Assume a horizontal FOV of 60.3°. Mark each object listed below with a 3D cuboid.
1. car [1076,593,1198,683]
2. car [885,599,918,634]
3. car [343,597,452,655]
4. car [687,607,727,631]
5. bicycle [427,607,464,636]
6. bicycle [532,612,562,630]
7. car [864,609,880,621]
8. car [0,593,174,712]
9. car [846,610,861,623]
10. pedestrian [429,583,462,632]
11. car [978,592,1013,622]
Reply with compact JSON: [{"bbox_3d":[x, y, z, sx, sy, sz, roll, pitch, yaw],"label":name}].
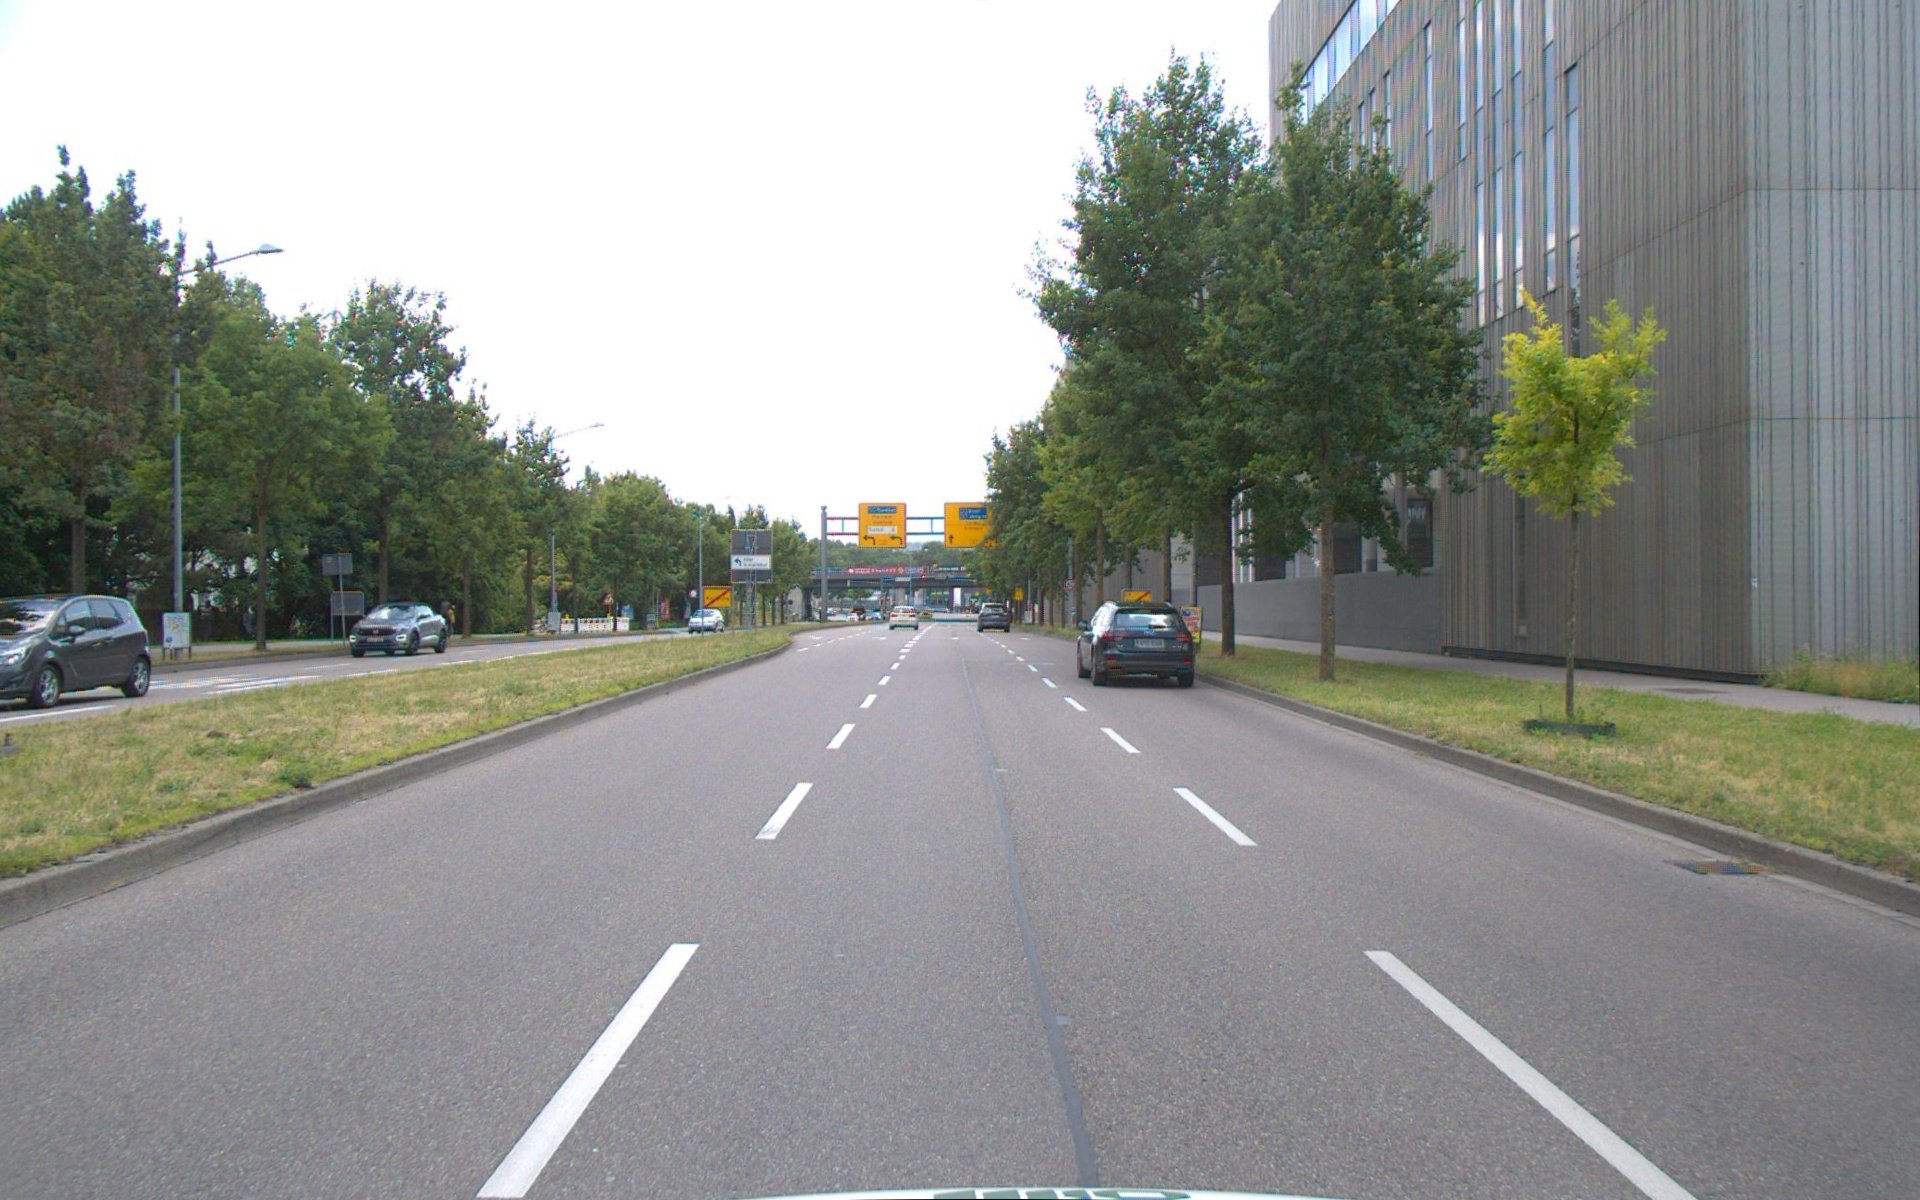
[{"bbox_3d":[3.099,0.651,29.648,1.650,1.489,3.998,1,0,-2],"label":"car"},{"bbox_3d":[-3.659,1.013,102.319,1.954,2.049,3.997,1,0,-3],"label":"car"},{"bbox_3d":[-16.568,0.741,48.934,1.706,1.572,4.572,-2,0,-1],"label":"car"},{"bbox_3d":[-15.409,1.133,100.932,1.606,1.352,4.383,-1,0,3],"label":"car"},{"bbox_3d":[-22.268,0.921,71.589,0.791,1.248,2.502,-1,0,0],"label":"bicycle"},{"bbox_3d":[-26.203,1.340,104.876,0.876,1.078,2.329,0,-1,-40],"label":"bicycle"},{"bbox_3d":[-12.535,2.123,235.995,1.952,1.646,4.000,-1,0,1],"label":"car"},{"bbox_3d":[-13.489,0.719,24.277,1.705,1.596,4.276,-2,0,2],"label":"car"},{"bbox_3d":[-15.465,2.431,240.093,1.953,1.814,3.998,1,-1,-2],"label":"car"},{"bbox_3d":[-22.243,0.322,71.479,0.950,2.049,1.249,2,0,0],"label":"pedestrian"},{"bbox_3d":[2.100,0.405,96.035,1.952,1.654,4.310,-1,0,2],"label":"car"}]
